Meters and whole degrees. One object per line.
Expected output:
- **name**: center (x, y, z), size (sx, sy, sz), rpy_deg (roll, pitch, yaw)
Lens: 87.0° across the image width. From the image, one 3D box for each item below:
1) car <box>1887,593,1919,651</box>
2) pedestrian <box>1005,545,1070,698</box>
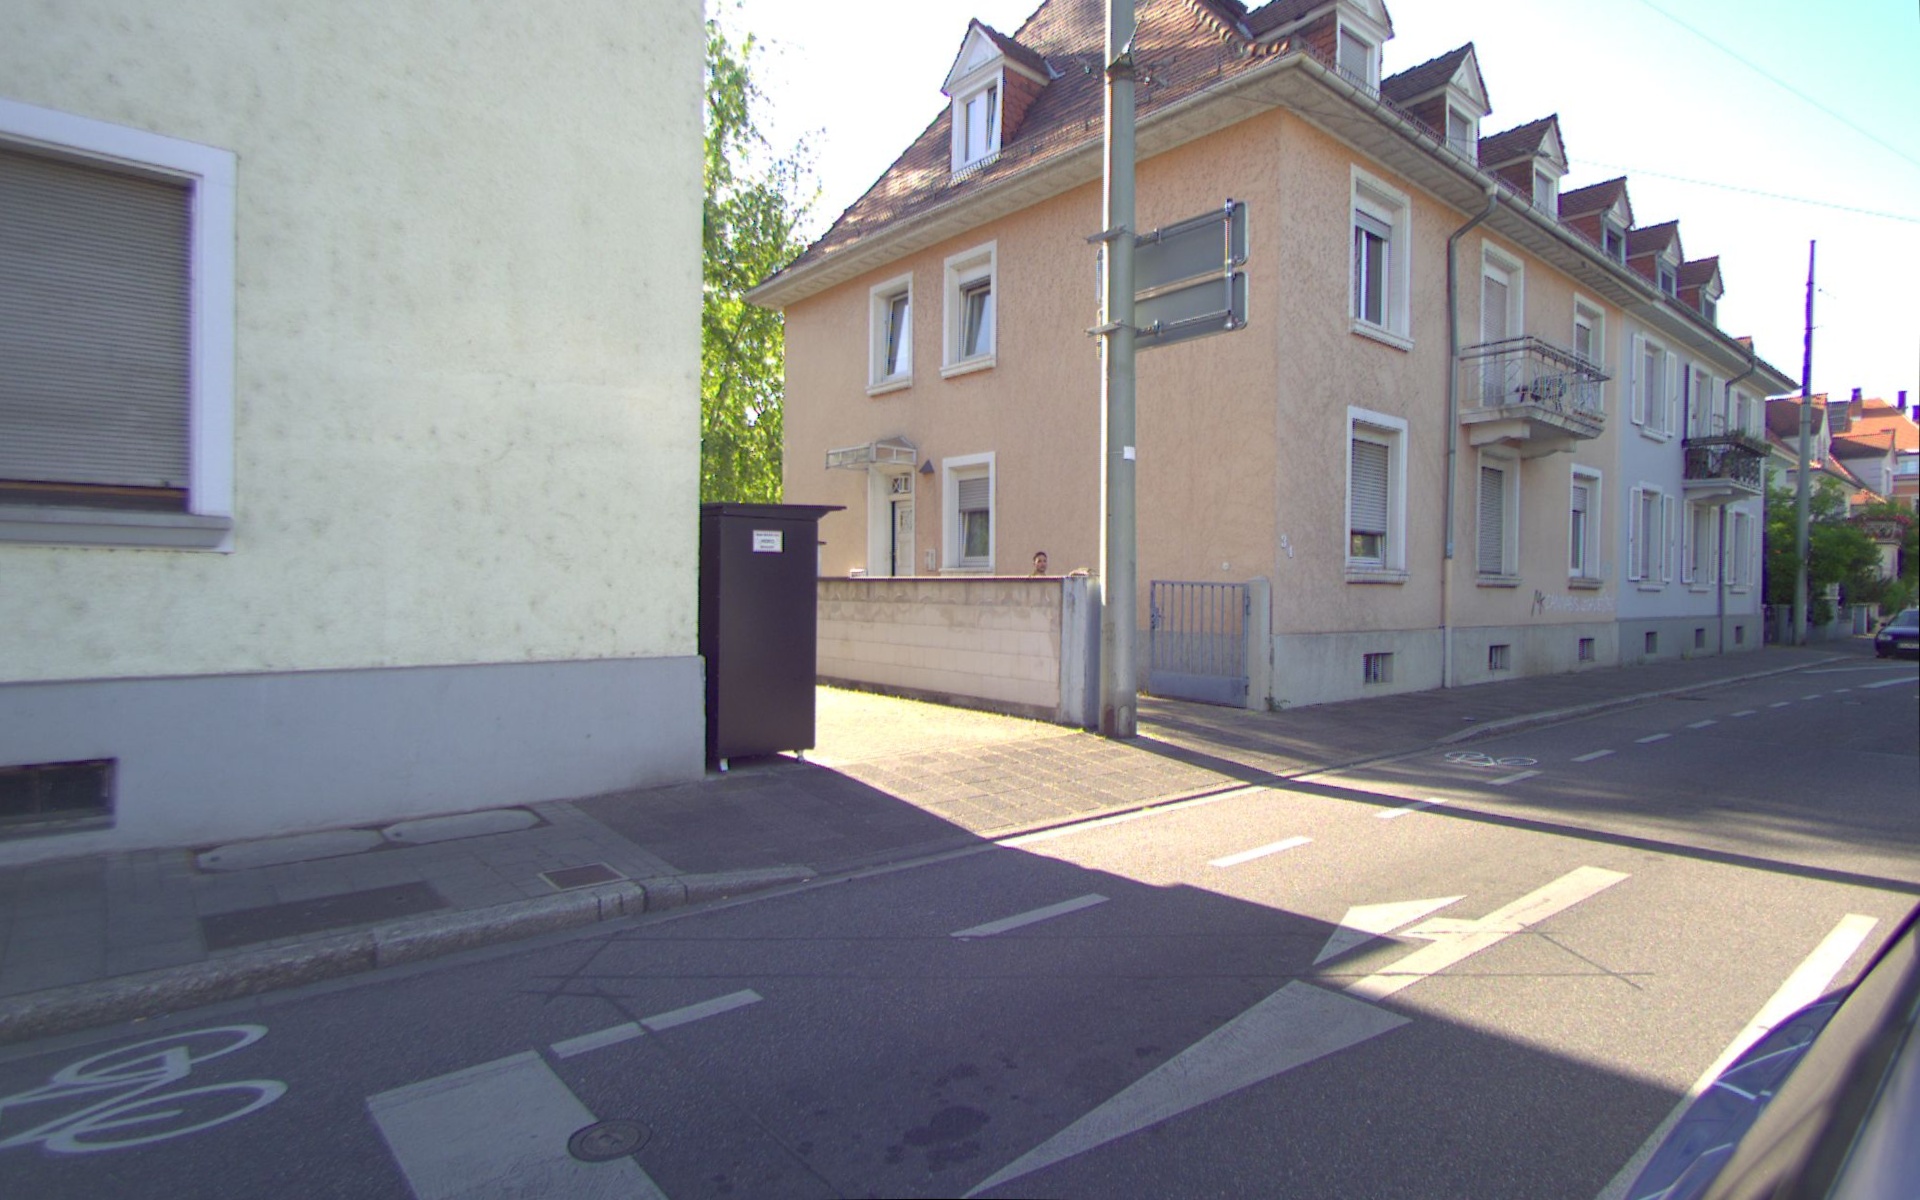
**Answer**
- **car**: center (26.834, 0.575, 27.389), size (3.925, 1.504, 1.883), rpy_deg (0, 1, -37)
- **pedestrian**: center (0.935, 0.240, 12.167), size (0.592, 1.783, 0.486), rpy_deg (0, 0, -39)
